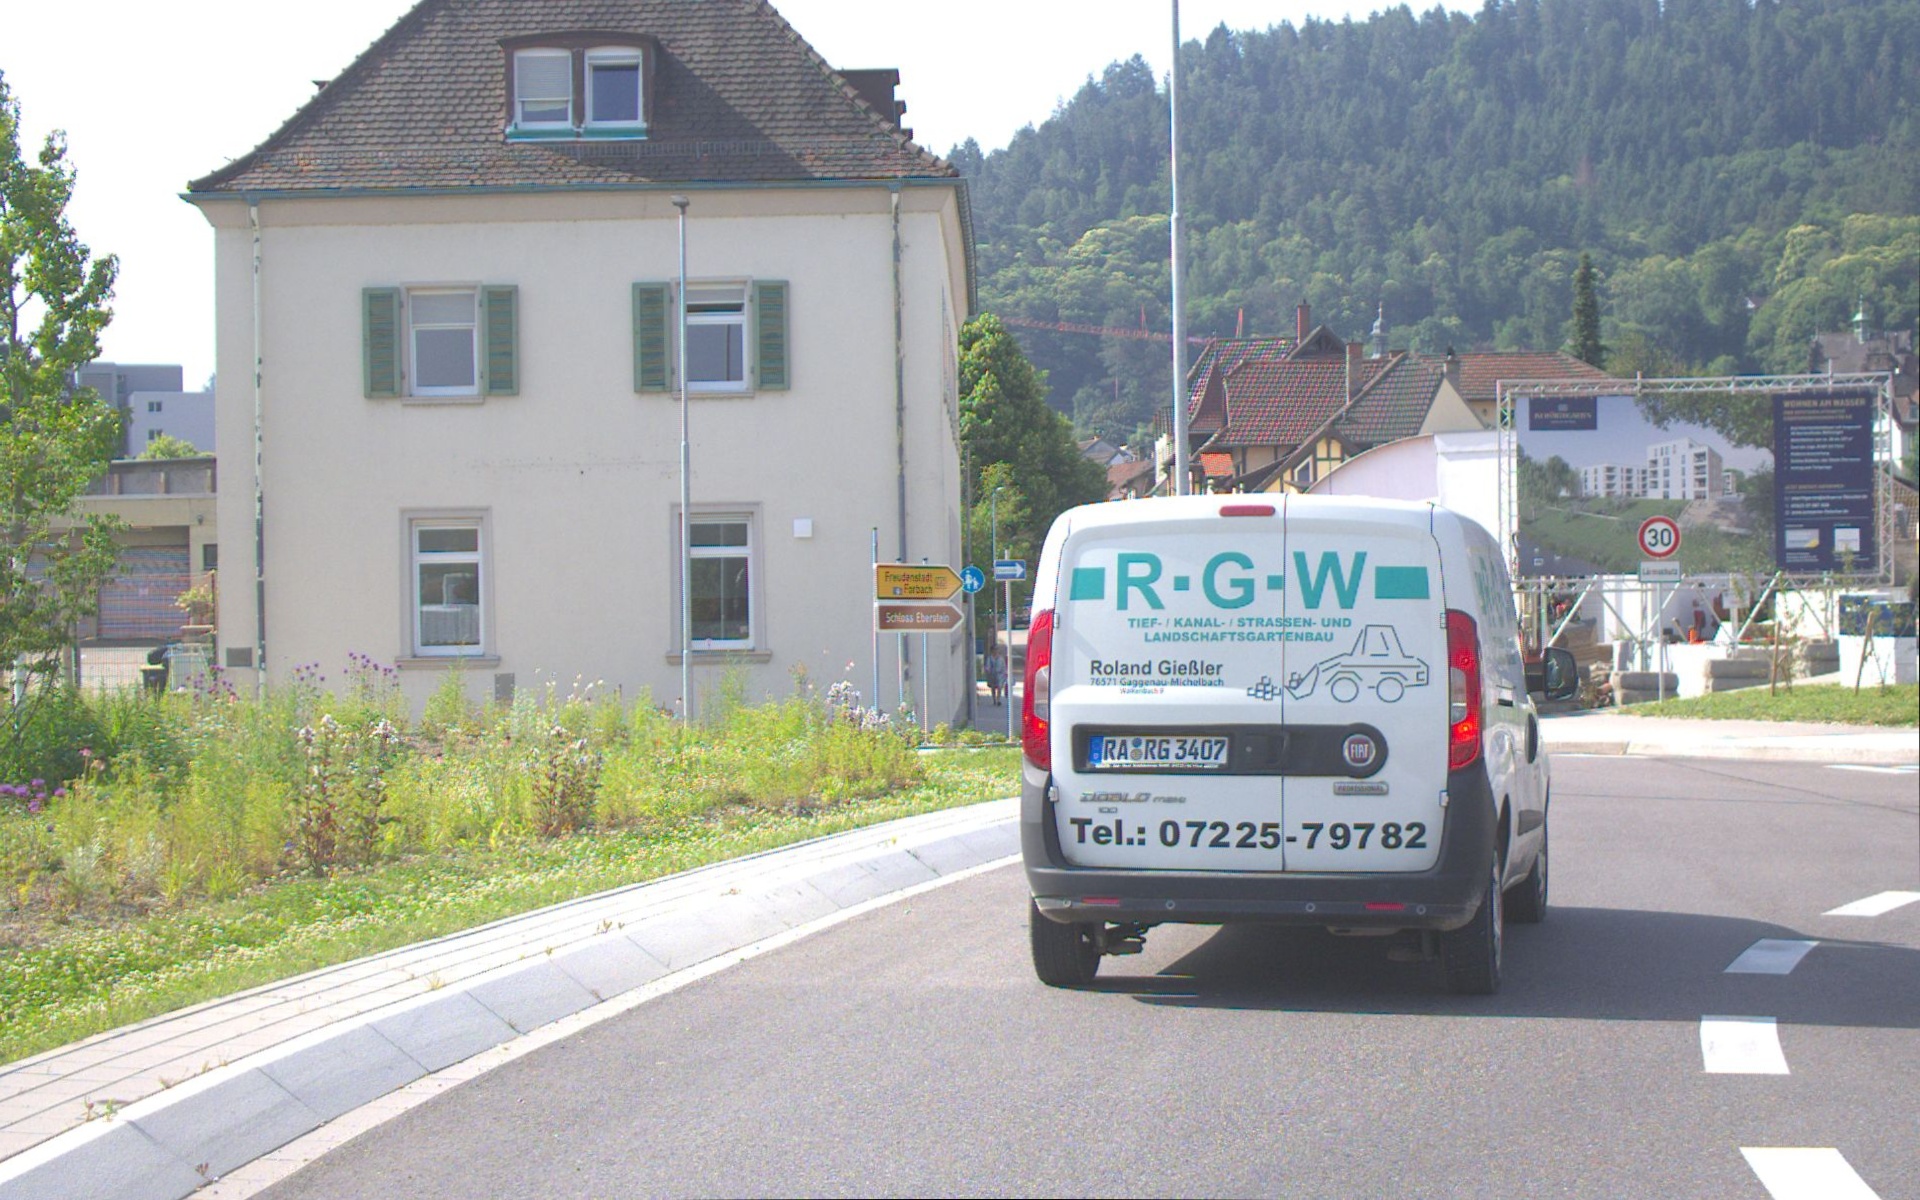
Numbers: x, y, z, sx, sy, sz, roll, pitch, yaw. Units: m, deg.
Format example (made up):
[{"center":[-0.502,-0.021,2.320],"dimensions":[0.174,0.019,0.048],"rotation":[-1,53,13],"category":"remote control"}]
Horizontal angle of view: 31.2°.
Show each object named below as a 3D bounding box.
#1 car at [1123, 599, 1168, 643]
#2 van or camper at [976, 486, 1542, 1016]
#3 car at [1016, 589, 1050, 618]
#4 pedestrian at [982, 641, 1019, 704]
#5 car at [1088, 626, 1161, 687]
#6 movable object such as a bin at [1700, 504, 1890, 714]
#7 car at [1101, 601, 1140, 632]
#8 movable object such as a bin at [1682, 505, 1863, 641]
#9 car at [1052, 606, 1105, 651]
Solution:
[{"center":[8.719,0.980,161.657],"dimensions":[1.871,2.007,4.000],"rotation":[0,0,0],"category":"car"},{"center":[1.383,0.545,14.173],"dimensions":[1.829,1.838,4.186],"rotation":[0,-1,12],"category":"van or camper"},{"center":[4.371,0.203,206.196],"dimensions":[1.810,1.591,3.927],"rotation":[1,1,-2],"category":"car"},{"center":[1.042,1.866,89.077],"dimensions":[0.958,1.625,0.758],"rotation":[0,-1,0],"category":"pedestrian"},{"center":[4.693,1.613,98.550],"dimensions":[1.810,1.591,3.927],"rotation":[1,1,-1],"category":"car"},{"center":[16.313,0.195,67.611],"dimensions":[2.295,3.841,7.797],"rotation":[1,0,4],"category":"movable object such as a bin"},{"center":[8.284,0.852,177.973],"dimensions":[1.669,1.503,4.000],"rotation":[-2,0,-2],"category":"car"},{"center":[22.577,-0.755,95.351],"dimensions":[2.855,3.609,5.724],"rotation":[2,1,35],"category":"movable object such as a bin"},{"center":[4.487,1.088,130.793],"dimensions":[1.810,1.591,3.927],"rotation":[1,1,-1],"category":"car"}]
